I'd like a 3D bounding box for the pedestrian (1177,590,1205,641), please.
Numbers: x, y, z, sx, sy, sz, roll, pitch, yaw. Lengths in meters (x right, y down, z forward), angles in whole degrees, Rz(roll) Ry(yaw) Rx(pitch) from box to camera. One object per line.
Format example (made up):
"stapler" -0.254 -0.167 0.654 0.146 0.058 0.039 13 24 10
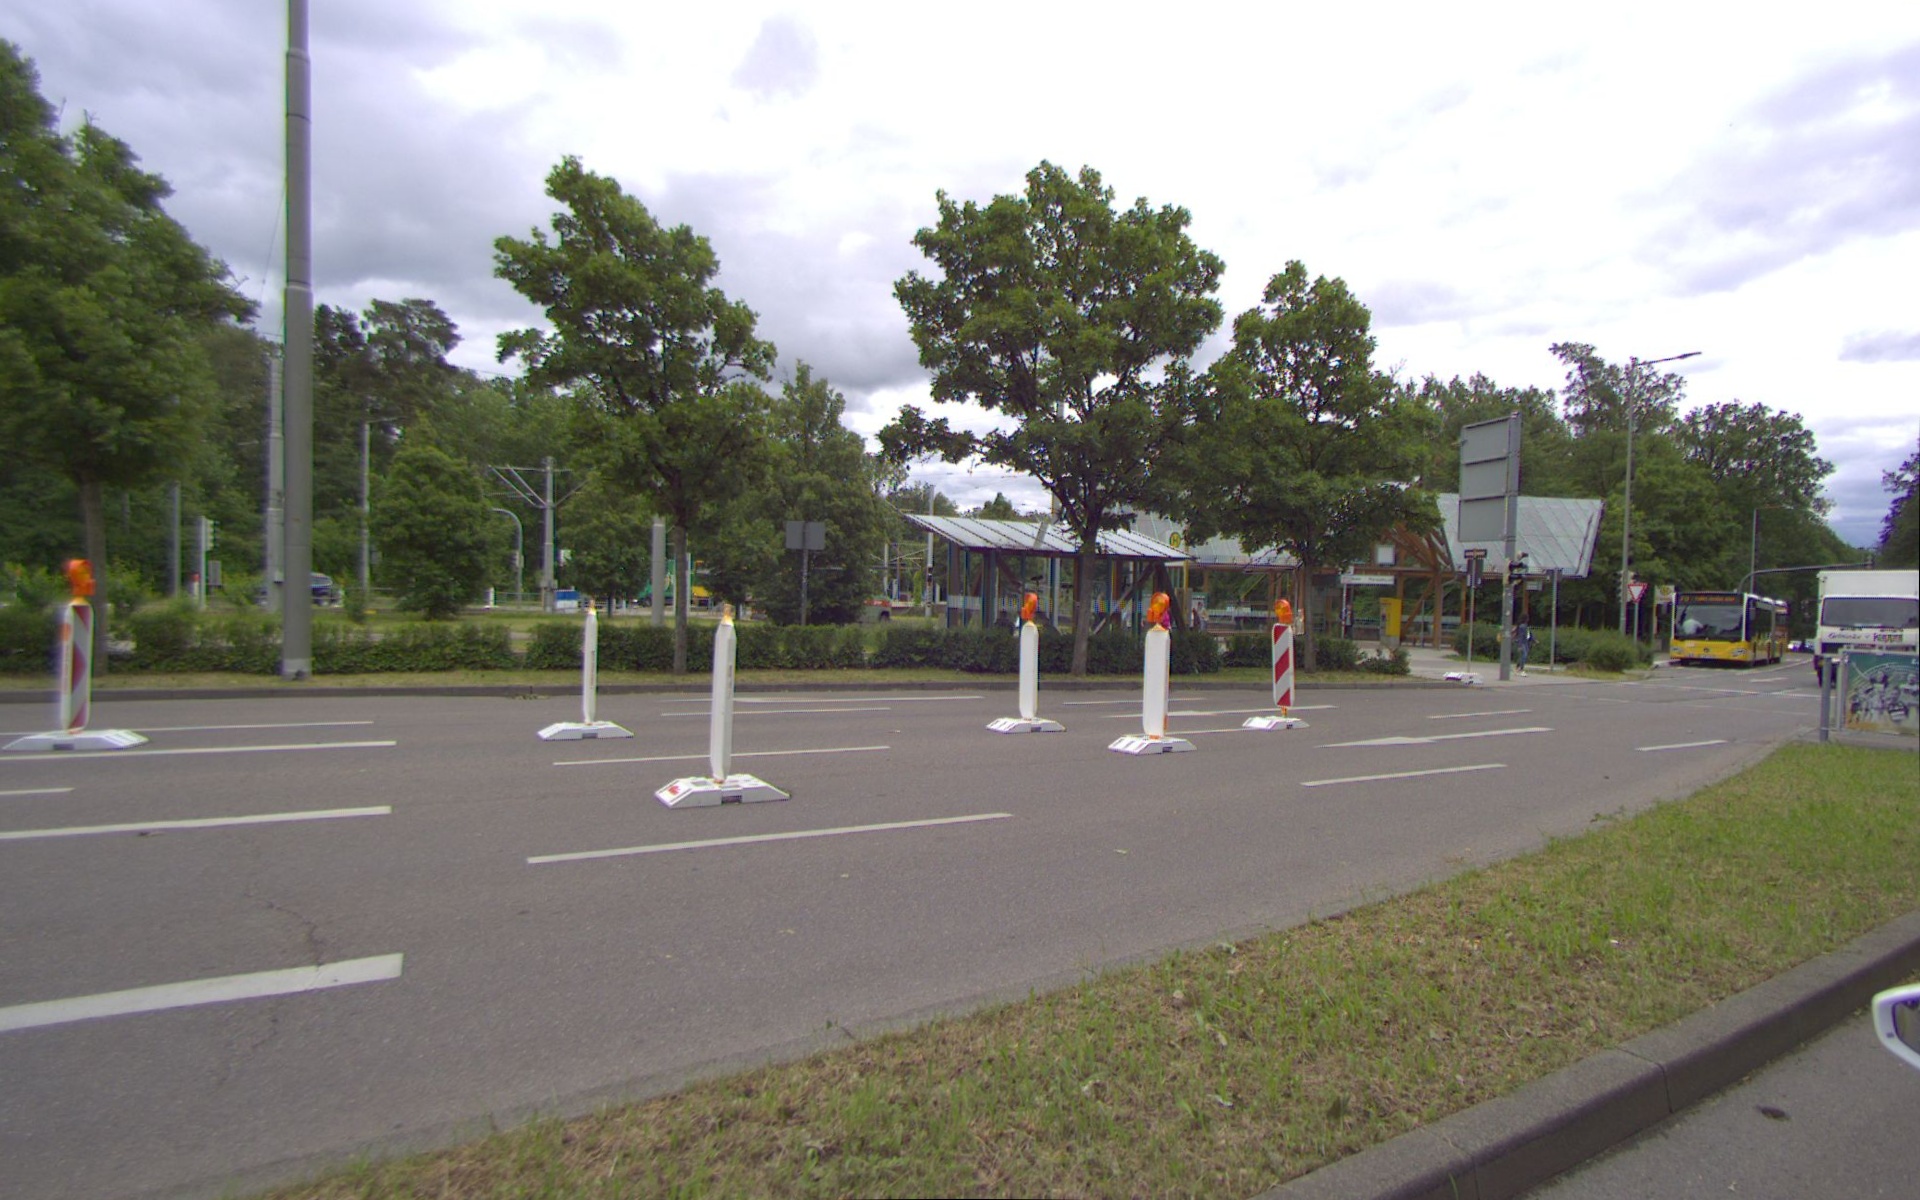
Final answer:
"pedestrian" 7.390 0.482 32.172 0.761 1.566 0.629 4 1 10

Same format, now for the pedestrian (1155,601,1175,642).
"pedestrian" 8.507 0.896 41.635 0.573 1.647 0.673 2 2 -5

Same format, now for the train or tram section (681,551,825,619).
"train or tram section" -15.633 -1.203 78.979 3.514 4.595 18.691 3 1 13

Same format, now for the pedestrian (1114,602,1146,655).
"pedestrian" 5.667 0.948 33.580 0.674 1.688 0.867 2 2 -17

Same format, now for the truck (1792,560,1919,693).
"truck" 25.191 0.745 27.594 6.157 3.281 2.607 2 -1 -40

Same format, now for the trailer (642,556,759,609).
"trailer" -21.457 -1.445 84.240 3.713 3.933 11.870 3 1 17

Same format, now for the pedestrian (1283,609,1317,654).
"pedestrian" 12.172 1.134 35.996 0.868 1.545 0.759 1 2 -40

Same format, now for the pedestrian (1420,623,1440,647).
"pedestrian" 20.785 1.553 44.448 0.559 0.997 0.553 1 2 -28

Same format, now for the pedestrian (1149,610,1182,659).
"pedestrian" 6.888 1.152 33.685 0.778 1.573 0.774 2 2 -11

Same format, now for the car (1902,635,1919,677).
"car" 37.711 2.179 38.686 4.277 1.529 1.791 3 -2 -43

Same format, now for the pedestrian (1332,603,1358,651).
"pedestrian" 15.248 1.055 39.777 0.752 1.833 0.993 3 2 30

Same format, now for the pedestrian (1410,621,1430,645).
"pedestrian" 20.239 1.442 44.176 0.559 0.997 0.545 2 2 -27

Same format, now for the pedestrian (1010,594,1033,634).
"pedestrian" 2.673 0.597 43.588 0.770 1.647 0.769 3 2 21

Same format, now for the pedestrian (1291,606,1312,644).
"pedestrian" 14.921 1.076 43.939 0.662 1.618 0.673 2 2 6

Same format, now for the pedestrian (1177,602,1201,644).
"pedestrian" 9.414 0.940 41.288 0.577 1.647 0.669 1 2 -29

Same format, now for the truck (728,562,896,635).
"truck" -4.932 -0.084 34.734 2.559 2.199 6.295 3 2 26

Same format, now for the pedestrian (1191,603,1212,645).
"pedestrian" 9.813 0.983 40.843 0.573 1.647 0.673 2 2 -5

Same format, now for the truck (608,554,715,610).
"truck" -23.166 -1.394 78.666 3.713 3.933 8.773 3 1 17

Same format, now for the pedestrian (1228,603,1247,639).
"pedestrian" 12.587 0.963 45.531 0.598 1.575 0.462 2 2 -20

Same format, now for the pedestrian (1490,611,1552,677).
"pedestrian" 14.989 1.159 26.844 1.075 1.698 0.908 2 0 -15

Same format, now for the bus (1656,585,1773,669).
"bus" 32.369 1.140 42.906 2.868 3.168 9.703 2 0 43

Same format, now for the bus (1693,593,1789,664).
"bus" 38.662 1.395 49.582 2.868 3.168 8.643 2 0 43
